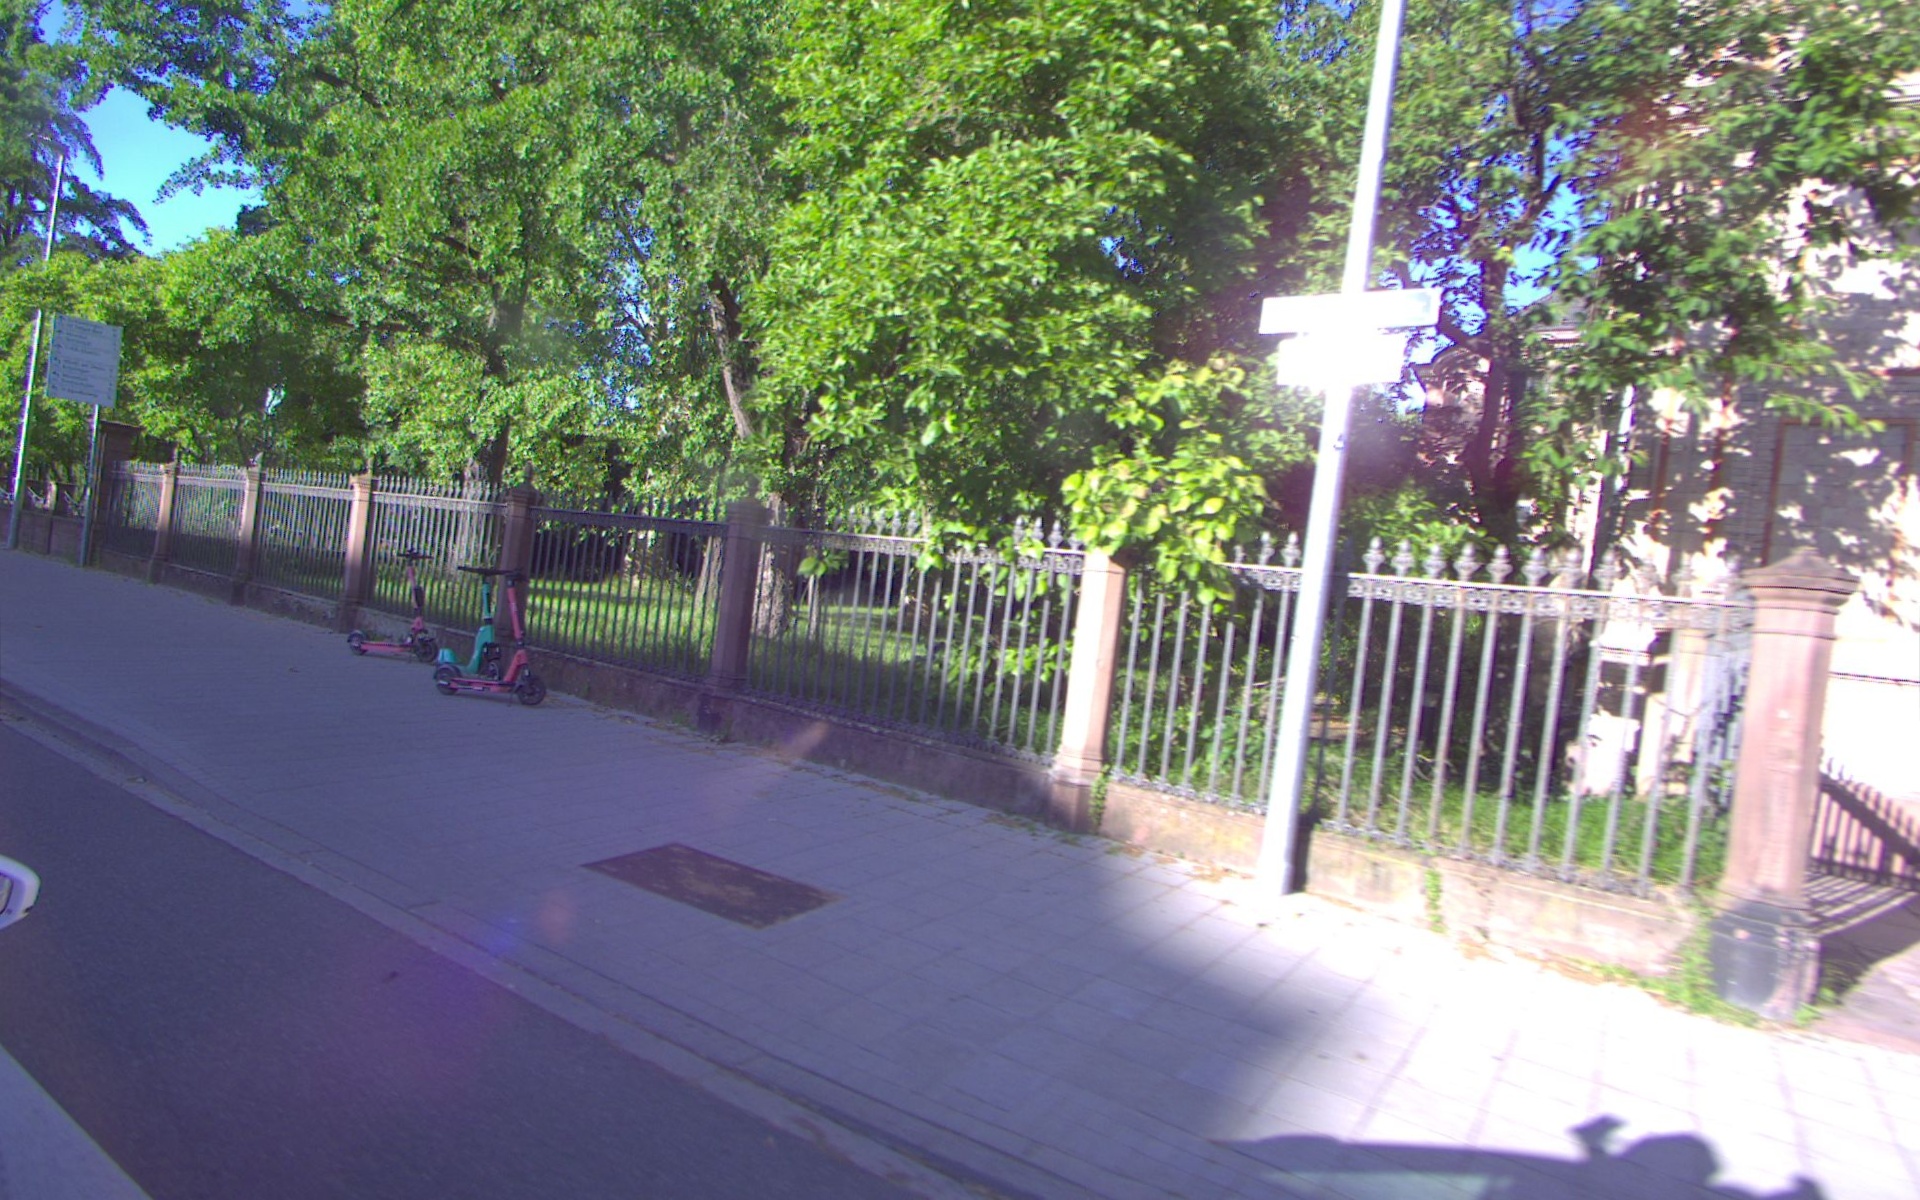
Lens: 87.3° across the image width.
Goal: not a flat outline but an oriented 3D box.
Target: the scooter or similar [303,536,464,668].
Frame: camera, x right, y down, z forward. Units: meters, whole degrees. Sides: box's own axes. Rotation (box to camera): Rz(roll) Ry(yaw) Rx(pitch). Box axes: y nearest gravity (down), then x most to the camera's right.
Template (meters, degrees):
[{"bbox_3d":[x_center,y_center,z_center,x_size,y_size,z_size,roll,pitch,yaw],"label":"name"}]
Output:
[{"bbox_3d":[-6.376,0.016,11.135,1.528,1.258,0.549,7,1,17],"label":"scooter or similar"}]

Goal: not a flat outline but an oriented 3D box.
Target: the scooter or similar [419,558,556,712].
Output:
[{"bbox_3d":[-4.340,0.307,9.232,1.139,1.256,0.297,7,2,18],"label":"scooter or similar"}]

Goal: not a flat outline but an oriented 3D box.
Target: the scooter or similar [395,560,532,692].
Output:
[{"bbox_3d":[-4.924,0.245,9.953,1.313,1.136,0.481,7,1,30],"label":"scooter or similar"}]
